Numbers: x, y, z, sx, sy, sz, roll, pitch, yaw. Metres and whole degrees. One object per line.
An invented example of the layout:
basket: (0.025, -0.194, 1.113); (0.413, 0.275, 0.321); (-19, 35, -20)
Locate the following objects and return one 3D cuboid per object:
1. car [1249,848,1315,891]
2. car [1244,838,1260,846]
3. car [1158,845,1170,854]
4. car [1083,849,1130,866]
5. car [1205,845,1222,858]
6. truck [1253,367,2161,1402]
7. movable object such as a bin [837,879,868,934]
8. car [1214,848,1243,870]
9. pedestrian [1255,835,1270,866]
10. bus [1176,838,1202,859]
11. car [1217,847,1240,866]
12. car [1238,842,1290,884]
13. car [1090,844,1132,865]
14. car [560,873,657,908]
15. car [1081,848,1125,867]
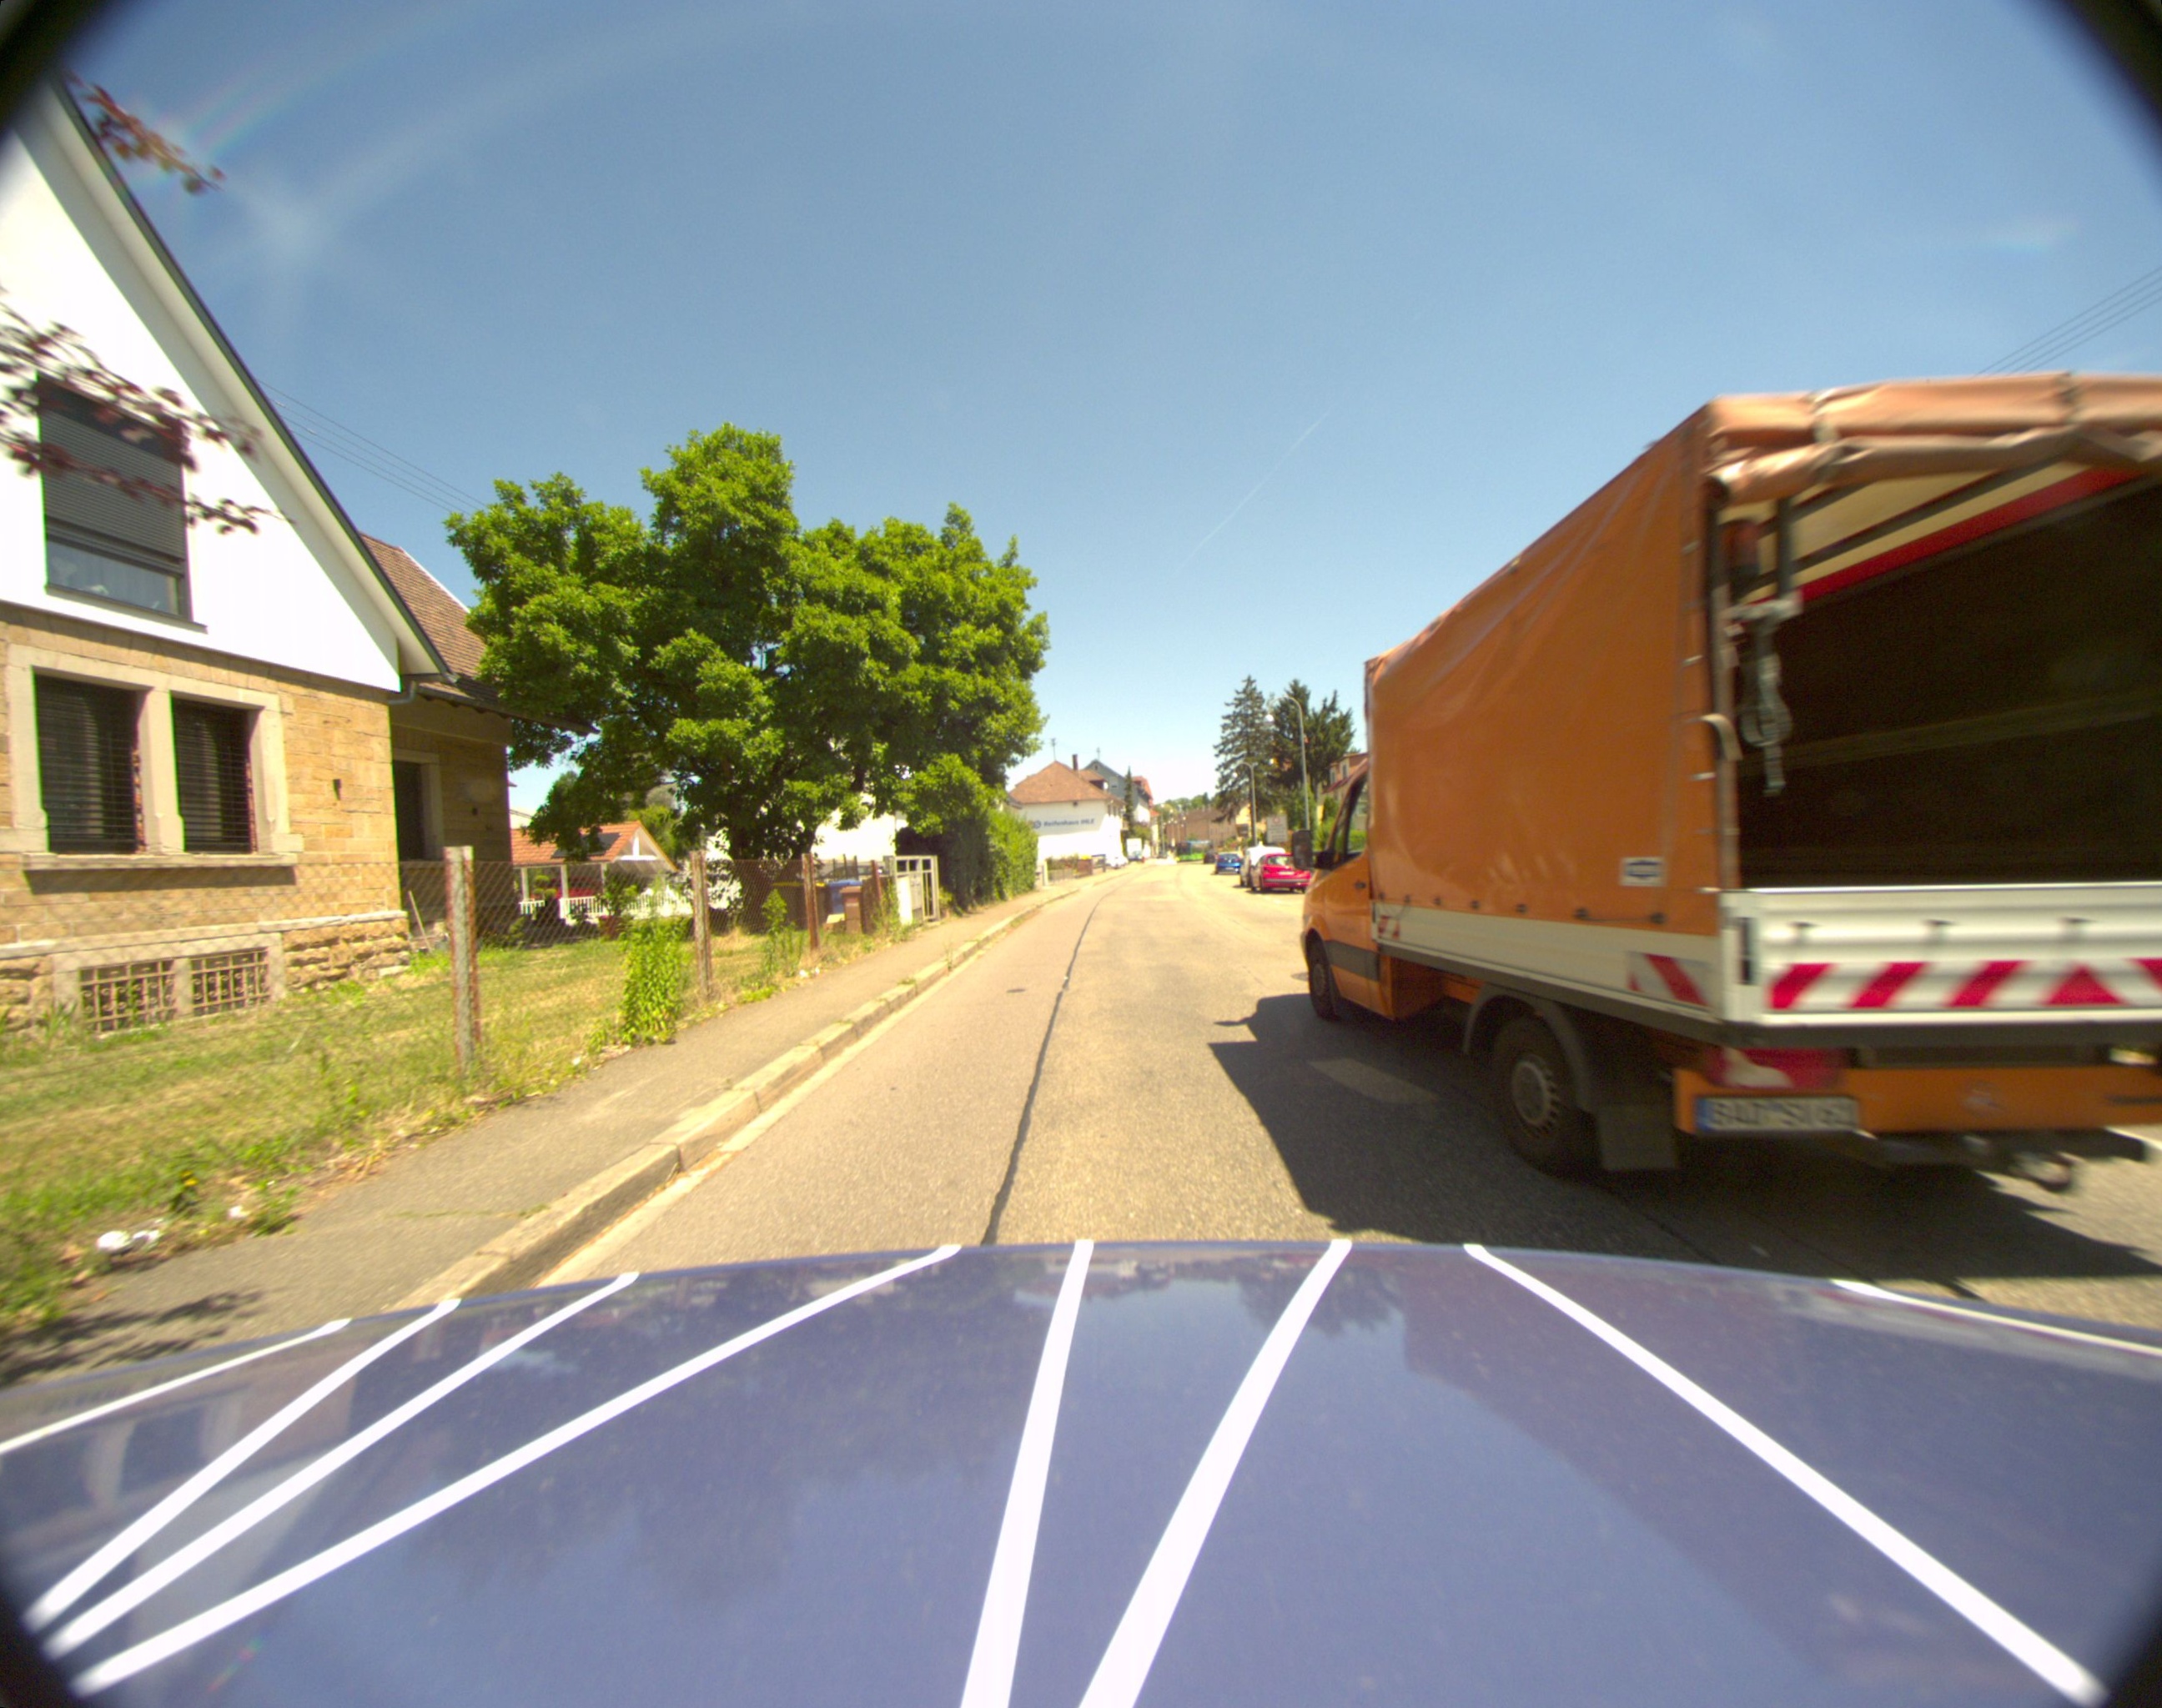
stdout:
car: (7.406, 0.512, 28.324); (1.764, 1.469, 4.059); (0, 0, 6)
car: (30.478, -2.129, 135.657); (1.742, 1.496, 4.149); (0, 1, 27)
car: (14.507, -0.815, 132.343); (1.761, 1.505, 3.744); (1, 1, 12)
car: (2.715, 0.377, 80.463); (4.648, 1.400, 1.770); (-6, 0, 12)
car: (14.977, -0.327, 85.682); (1.734, 1.409, 4.003); (-1, 1, 13)
truck: (2.919, 0.073, 4.908); (2.379, 2.813, 5.658); (-2, 0, 1)
movable object such as a bin: (-4.524, 1.034, 15.073); (0.400, 1.058, 0.546); (-1, 1, 4)
car: (10.059, 0.293, 52.080); (1.772, 1.430, 4.365); (-1, 0, 9)
pedestrian: (11.648, -0.229, 48.829); (0.690, 1.878, 1.019); (-7, 1, 12)
bus: (16.719, -0.921, 117.130); (2.908, 3.062, 12.572); (-3, 1, 12)
car: (11.365, 0.182, 58.598); (1.581, 1.415, 3.943); (0, 0, 9)
car: (7.956, 0.363, 33.350); (1.726, 1.726, 3.888); (0, 1, 6)
car: (3.276, 0.052, 82.960); (4.300, 1.820, 1.739); (-6, 0, 2)
car: (-21.684, 1.672, 34.960); (3.467, 1.381, 1.489); (-2, 1, 0)
car: (2.216, 0.388, 77.559); (4.294, 1.539, 1.759); (-5, 1, 43)
